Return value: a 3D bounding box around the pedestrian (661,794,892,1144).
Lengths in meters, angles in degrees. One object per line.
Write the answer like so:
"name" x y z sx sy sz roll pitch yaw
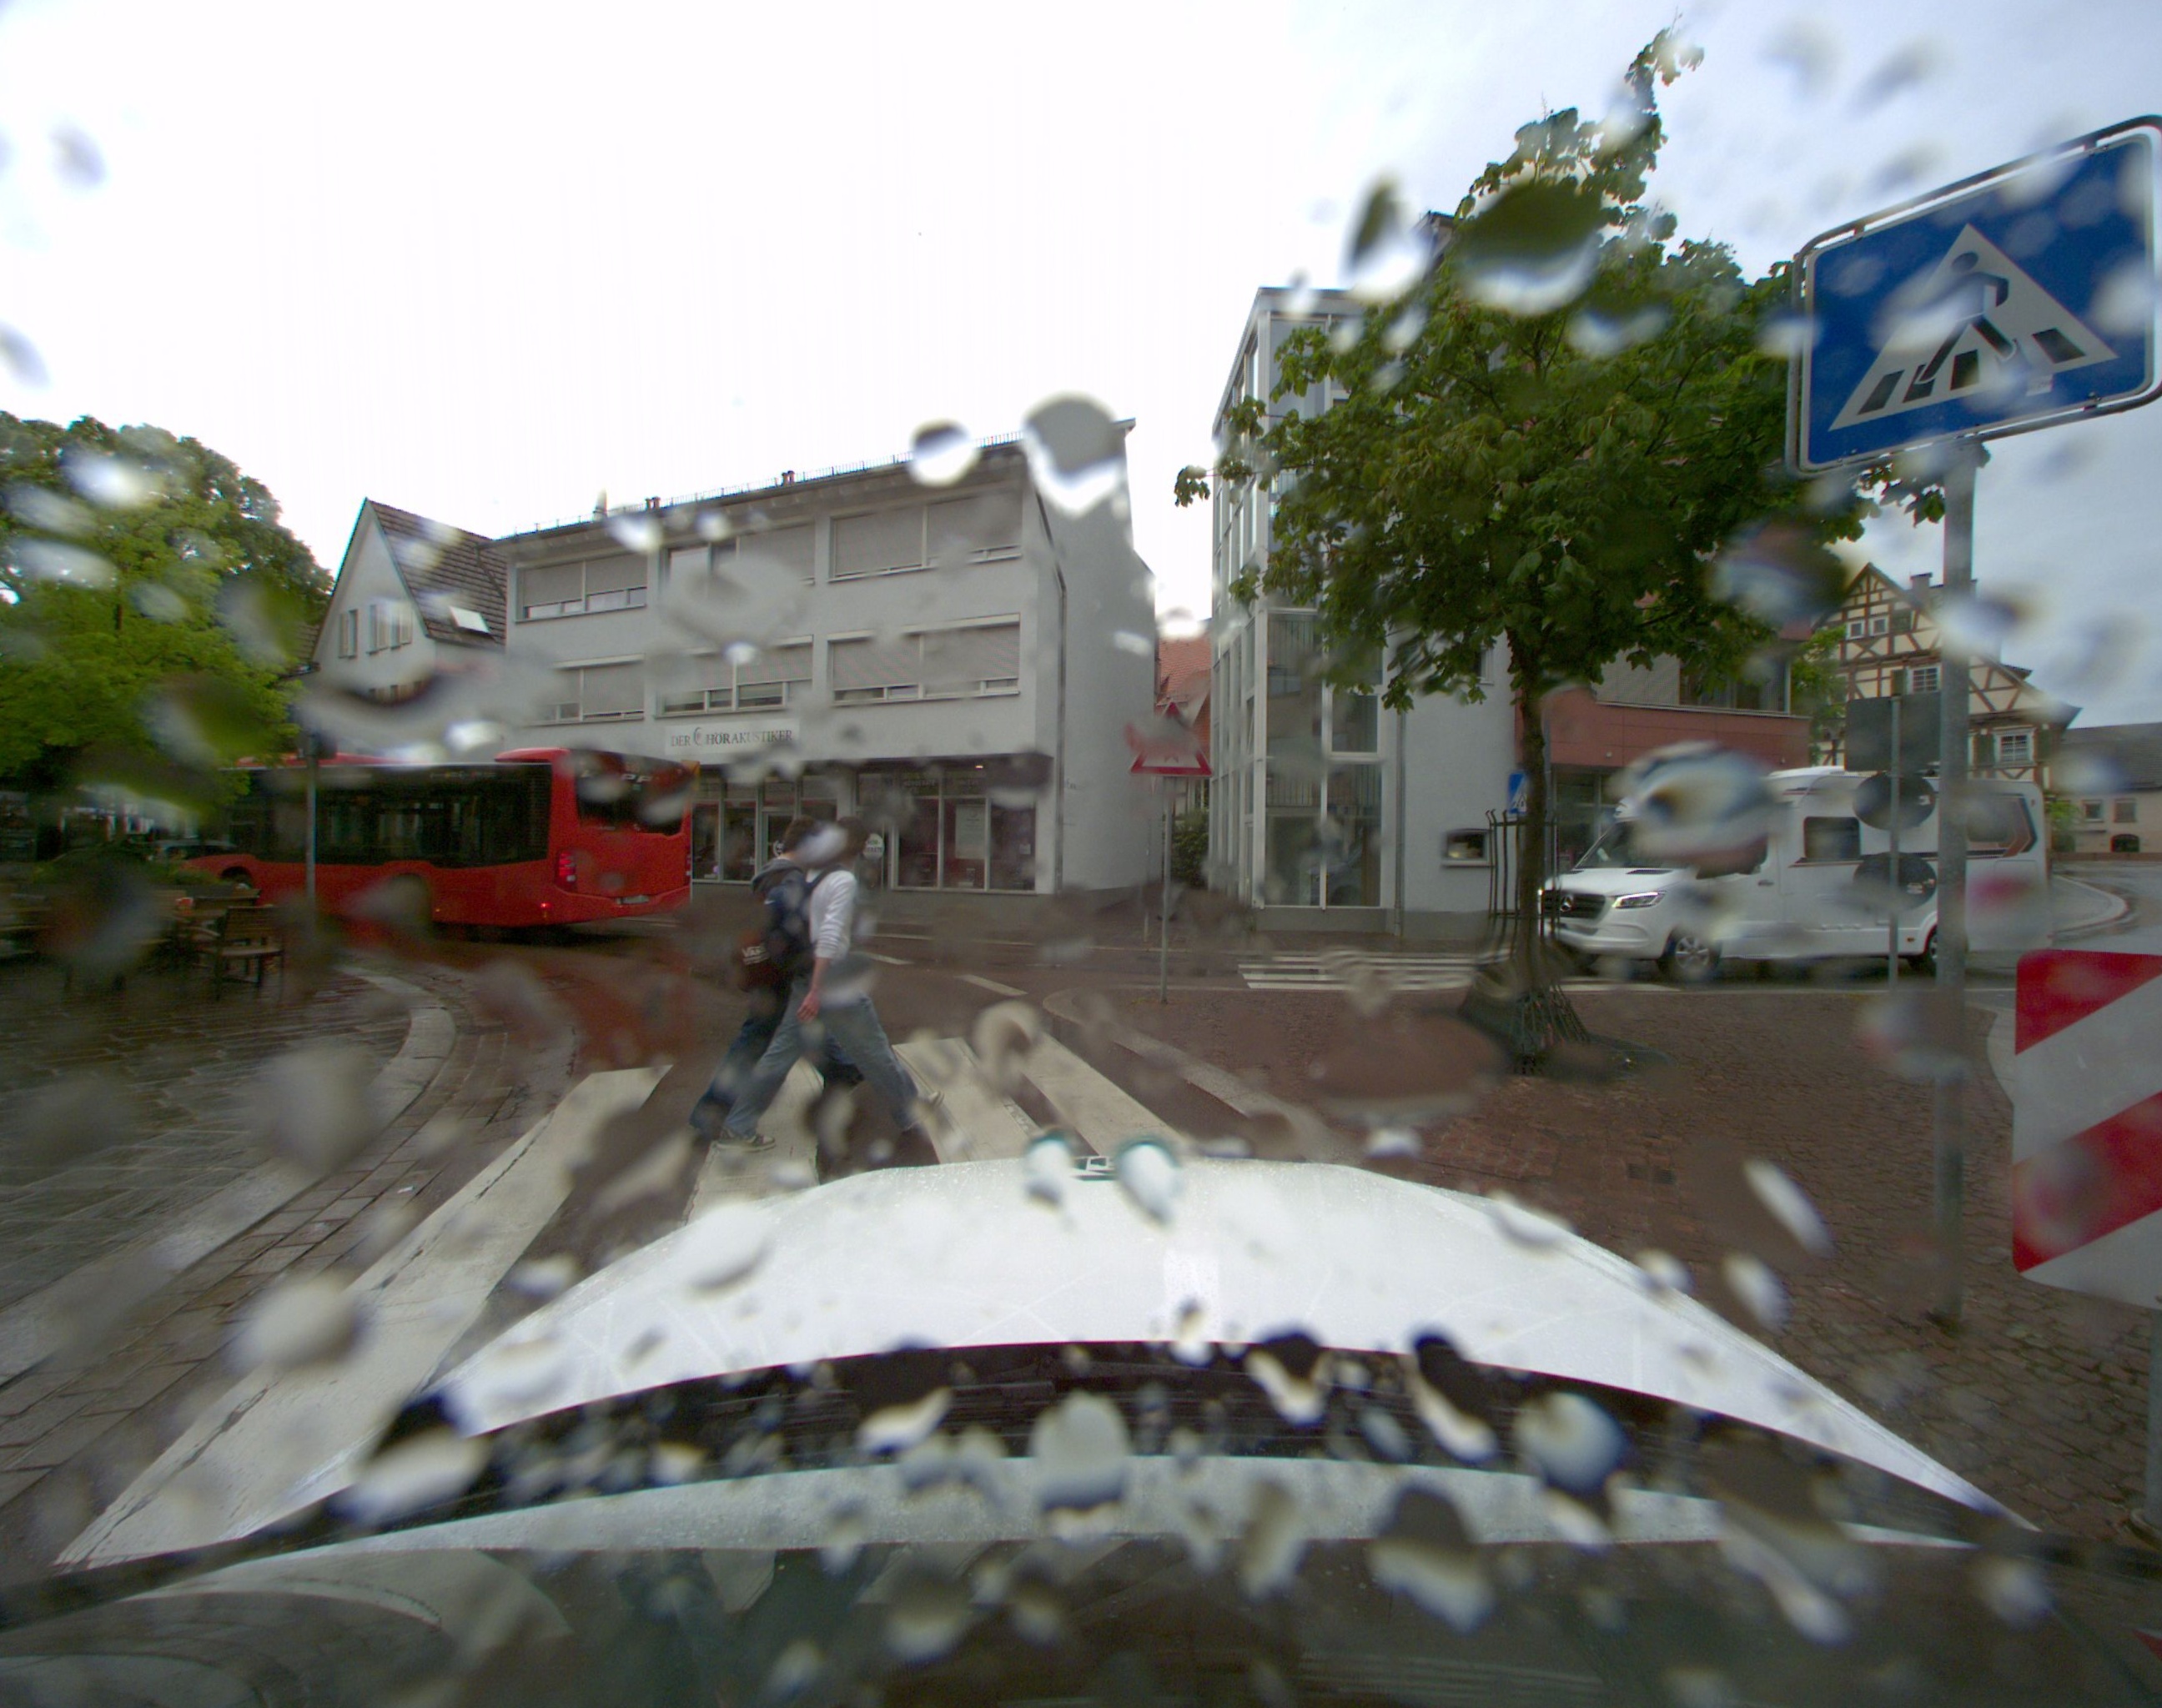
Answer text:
"pedestrian" -1.772 0.594 4.827 0.685 1.800 1.065 0 -1 37

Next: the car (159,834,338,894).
"car" -22.162 0.240 21.705 3.817 1.496 1.808 0 -1 18

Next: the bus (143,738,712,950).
"bus" -12.014 -0.313 14.837 10.487 3.088 2.836 2 2 19

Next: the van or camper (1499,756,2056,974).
"van or camper" 9.733 0.213 11.584 6.734 2.586 2.435 1 -2 -13

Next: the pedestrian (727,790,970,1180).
"pedestrian" -1.222 0.607 4.402 0.657 1.807 1.068 0 -1 38
